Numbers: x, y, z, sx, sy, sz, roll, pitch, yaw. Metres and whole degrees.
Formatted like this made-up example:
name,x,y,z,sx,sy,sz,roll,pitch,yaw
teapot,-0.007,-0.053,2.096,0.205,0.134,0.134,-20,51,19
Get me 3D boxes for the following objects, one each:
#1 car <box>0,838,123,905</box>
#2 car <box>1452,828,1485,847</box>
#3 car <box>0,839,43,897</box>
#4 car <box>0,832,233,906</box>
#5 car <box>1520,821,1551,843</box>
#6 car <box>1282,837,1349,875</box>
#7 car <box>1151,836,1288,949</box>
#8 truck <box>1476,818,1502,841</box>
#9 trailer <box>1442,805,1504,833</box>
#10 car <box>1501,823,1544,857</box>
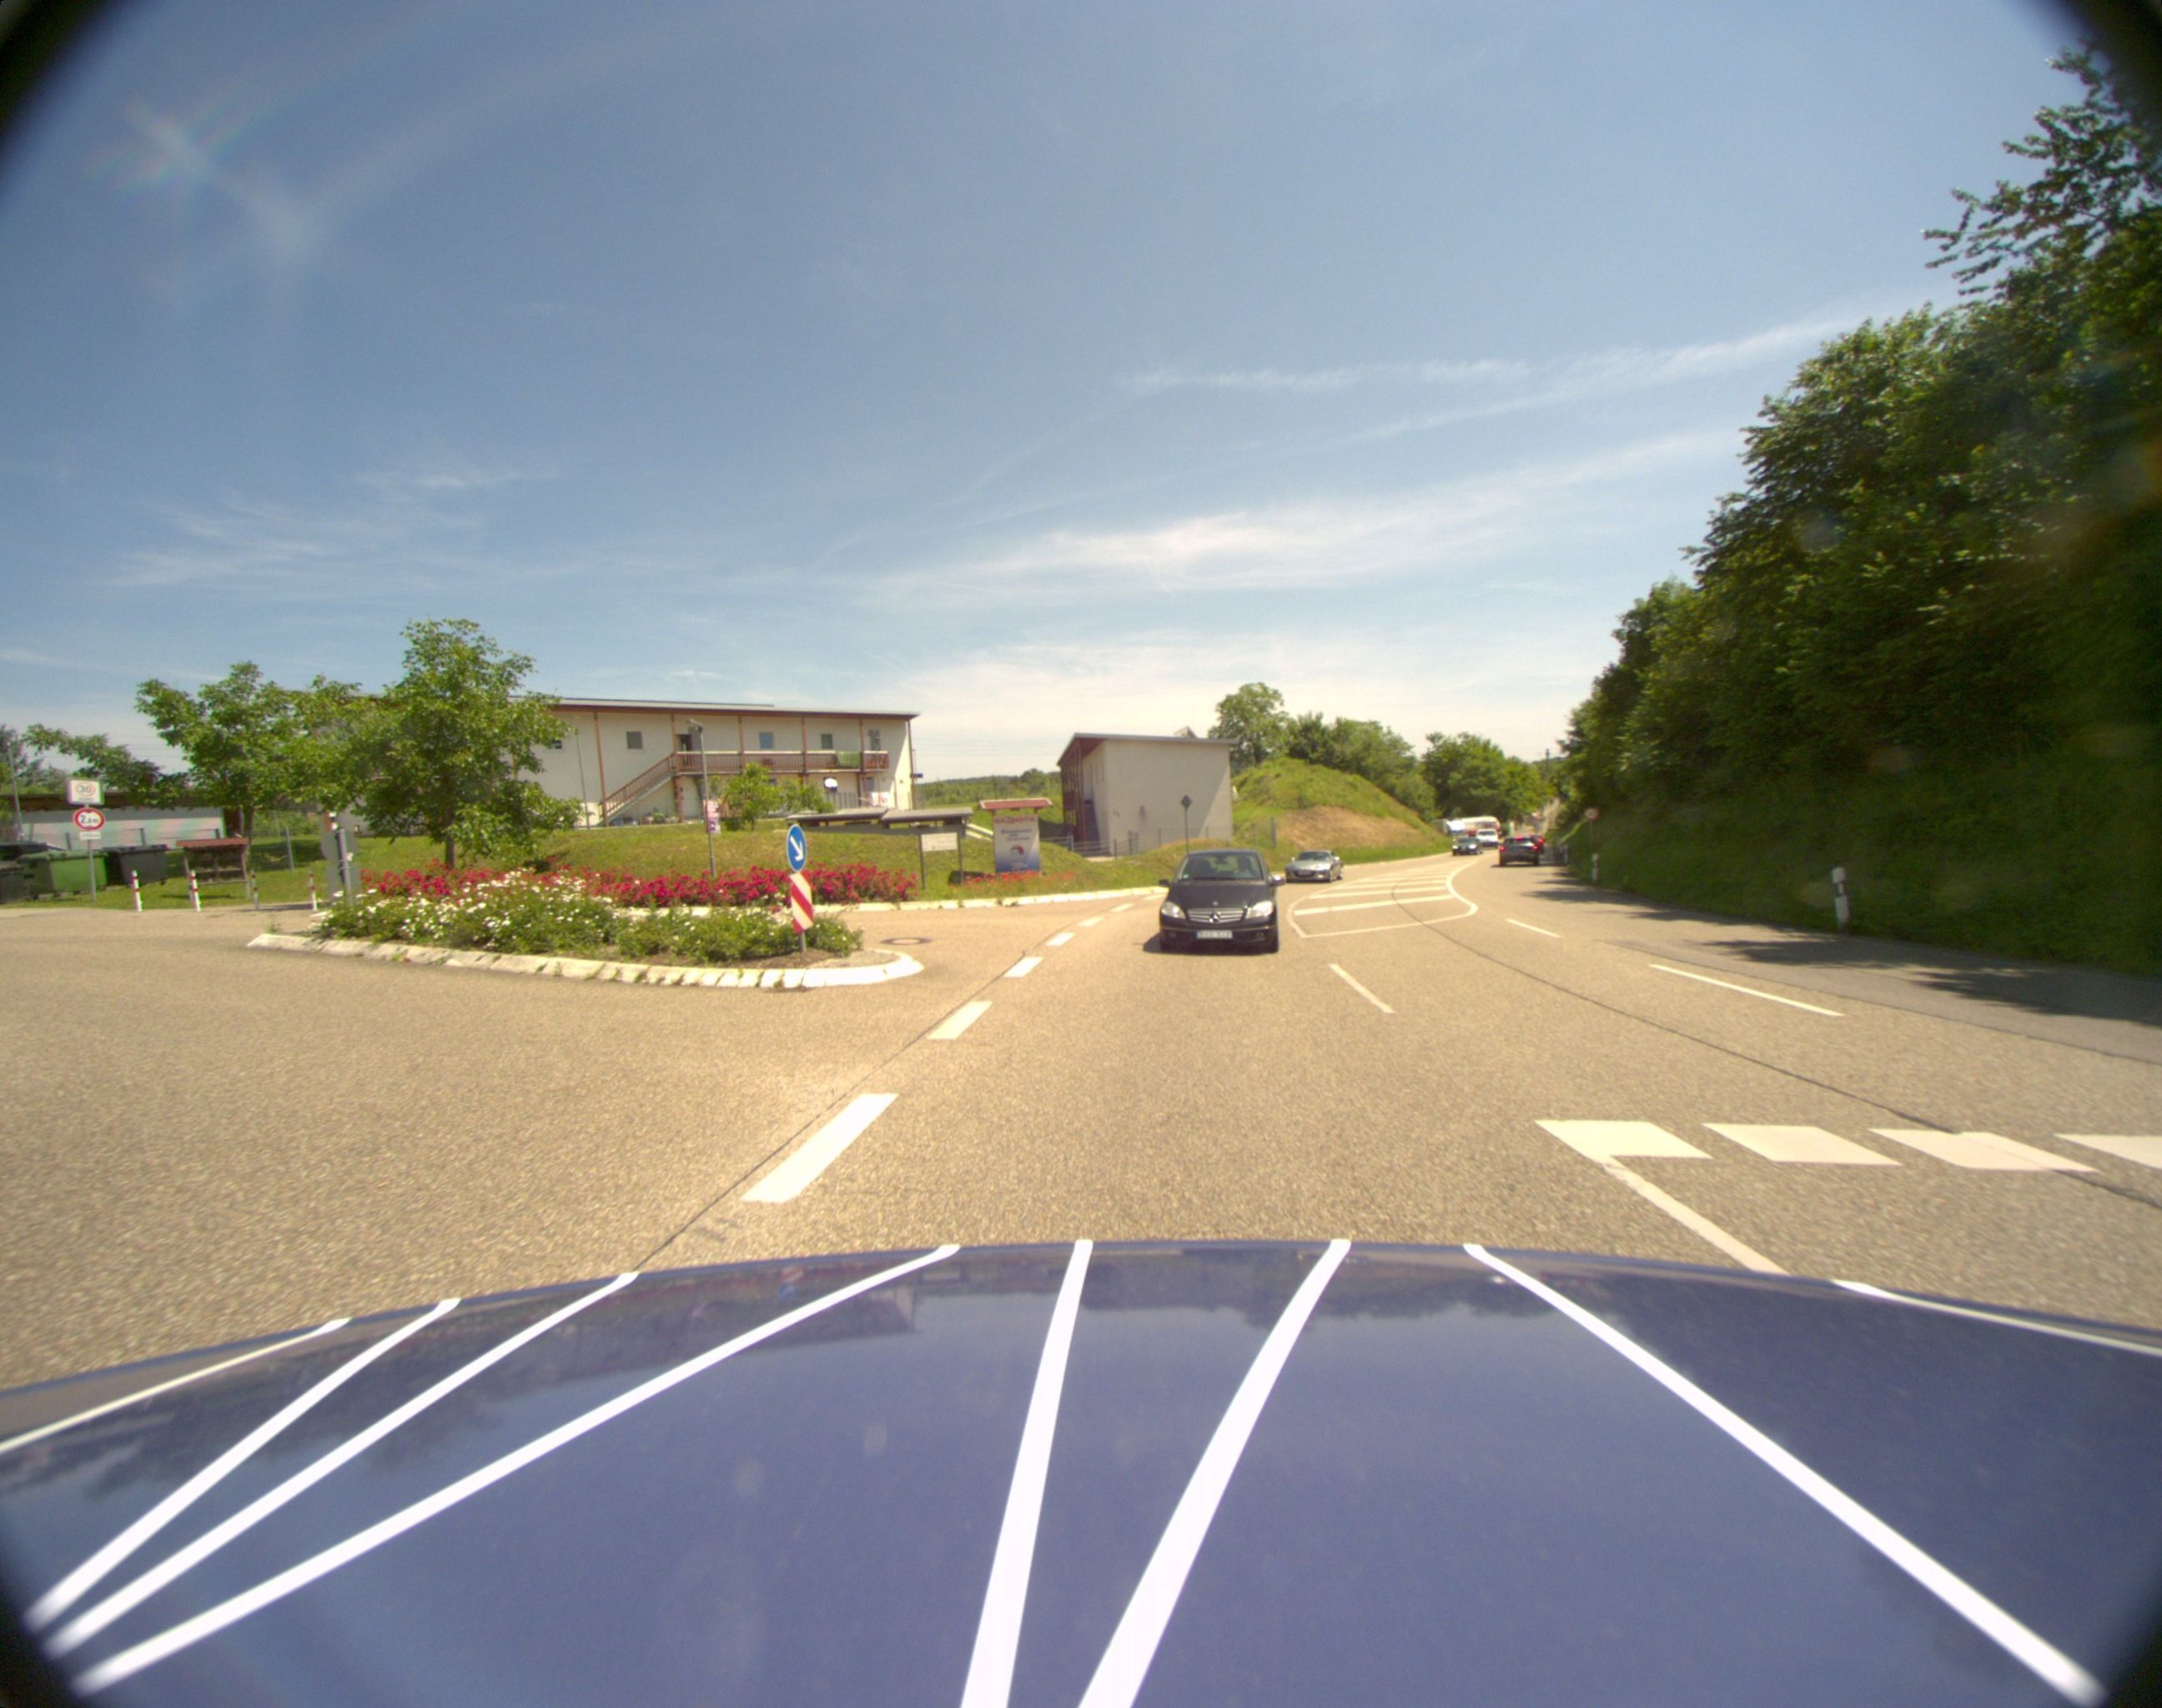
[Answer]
name,x,y,z,sx,sy,sz,roll,pitch,yaw
car,-31.634,0.568,22.247,1.870,1.742,3.997,-3,4,1
car,30.189,-1.329,59.129,1.752,1.281,4.152,-2,1,34
car,-34.189,0.580,22.235,1.870,1.742,3.997,-3,4,1
car,-28.475,0.361,22.576,1.870,1.742,3.997,-3,4,1
car,33.329,-1.626,55.675,1.751,1.440,4.007,-1,2,33
car,9.205,0.054,29.661,1.644,1.315,3.444,0,3,32
car,2.436,0.505,12.606,1.793,1.570,3.804,0,1,17
truck,39.176,-2.393,72.984,2.067,2.002,5.252,-3,2,29
trailer,52.113,-4.592,101.468,2.639,3.354,11.140,-3,2,2
car,23.257,-0.769,39.945,1.792,1.596,4.186,-1,2,32
